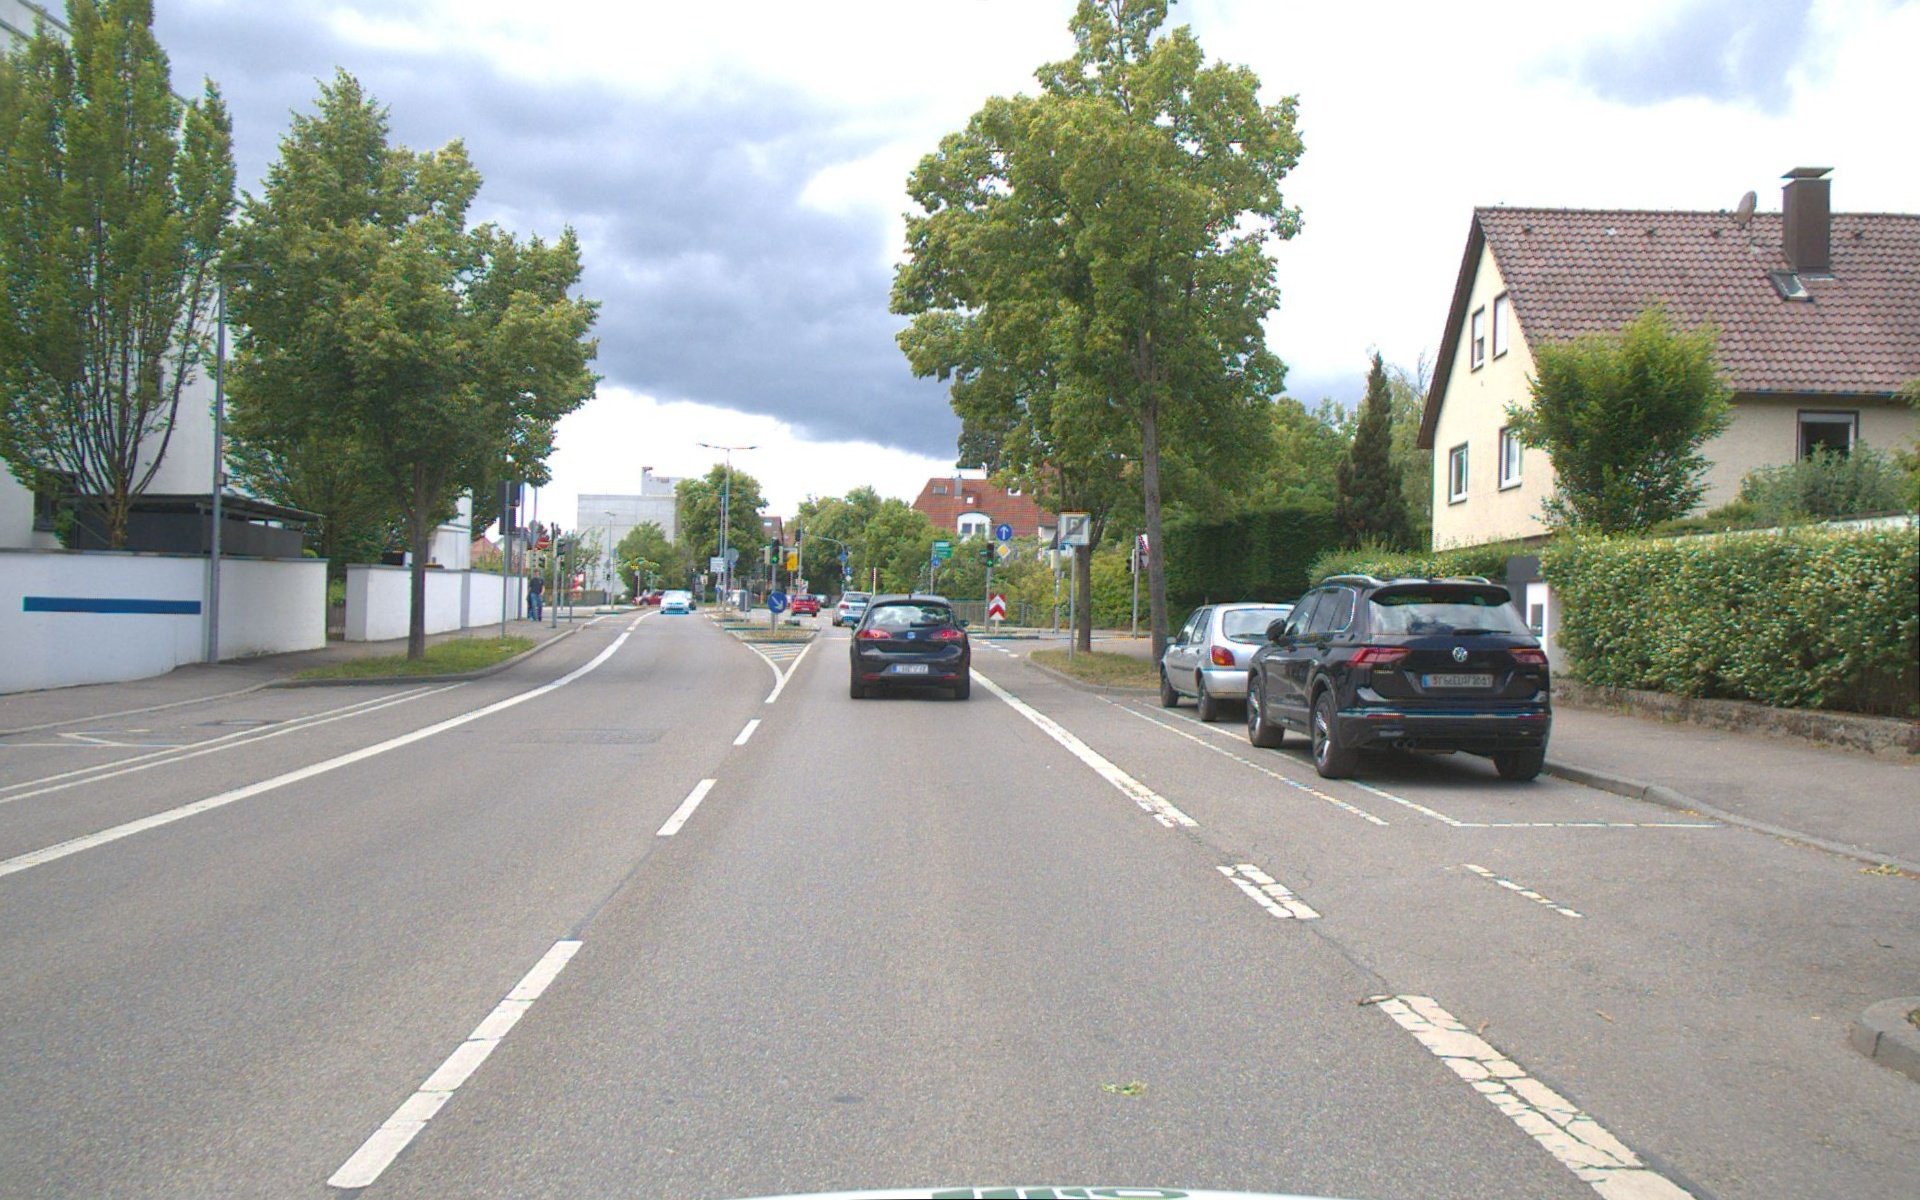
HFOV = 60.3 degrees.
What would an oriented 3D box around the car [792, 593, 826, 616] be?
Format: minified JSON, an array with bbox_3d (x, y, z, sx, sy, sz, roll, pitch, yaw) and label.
[{"bbox_3d":[-10.147,0.282,110.847,1.906,1.507,4.242,0,0,-11],"label":"car"}]

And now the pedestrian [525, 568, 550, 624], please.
[{"bbox_3d":[-15.310,-0.134,59.949,0.636,1.982,0.870,4,-1,-8],"label":"pedestrian"}]

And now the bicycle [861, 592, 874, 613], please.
[{"bbox_3d":[-6.808,0.168,121.742,0.874,1.537,2.781,1,0,-3],"label":"bicycle"}]

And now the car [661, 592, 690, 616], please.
[{"bbox_3d":[-17.828,0.259,103.570,1.766,1.469,3.938,1,0,-10],"label":"car"}]

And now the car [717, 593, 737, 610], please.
[{"bbox_3d":[-21.166,0.144,150.384,1.613,1.433,3.809,2,0,-10],"label":"car"}]

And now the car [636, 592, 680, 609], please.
[{"bbox_3d":[-28.676,0.025,157.113,3.923,1.579,1.741,1,0,-17],"label":"car"}]

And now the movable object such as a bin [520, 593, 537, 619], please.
[{"bbox_3d":[-17.235,0.239,66.042,0.488,0.976,0.984,5,-1,-11],"label":"movable object such as a bin"}]

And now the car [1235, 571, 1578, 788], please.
[{"bbox_3d":[3.831,0.606,15.033,1.730,1.664,4.546,1,0,-2],"label":"car"}]

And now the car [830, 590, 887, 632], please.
[{"bbox_3d":[-4.372,0.449,70.625,1.787,1.729,4.239,0,0,-13],"label":"car"}]

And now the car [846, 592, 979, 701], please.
[{"bbox_3d":[-0.766,0.623,24.352,1.725,1.474,3.710,0,0,-5],"label":"car"}]

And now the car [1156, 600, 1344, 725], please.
[{"bbox_3d":[3.530,0.710,20.689,1.527,1.374,3.538,-1,1,-3],"label":"car"}]

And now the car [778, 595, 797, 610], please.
[{"bbox_3d":[-18.059,0.281,172.857,1.689,1.473,4.056,2,0,-10],"label":"car"}]
